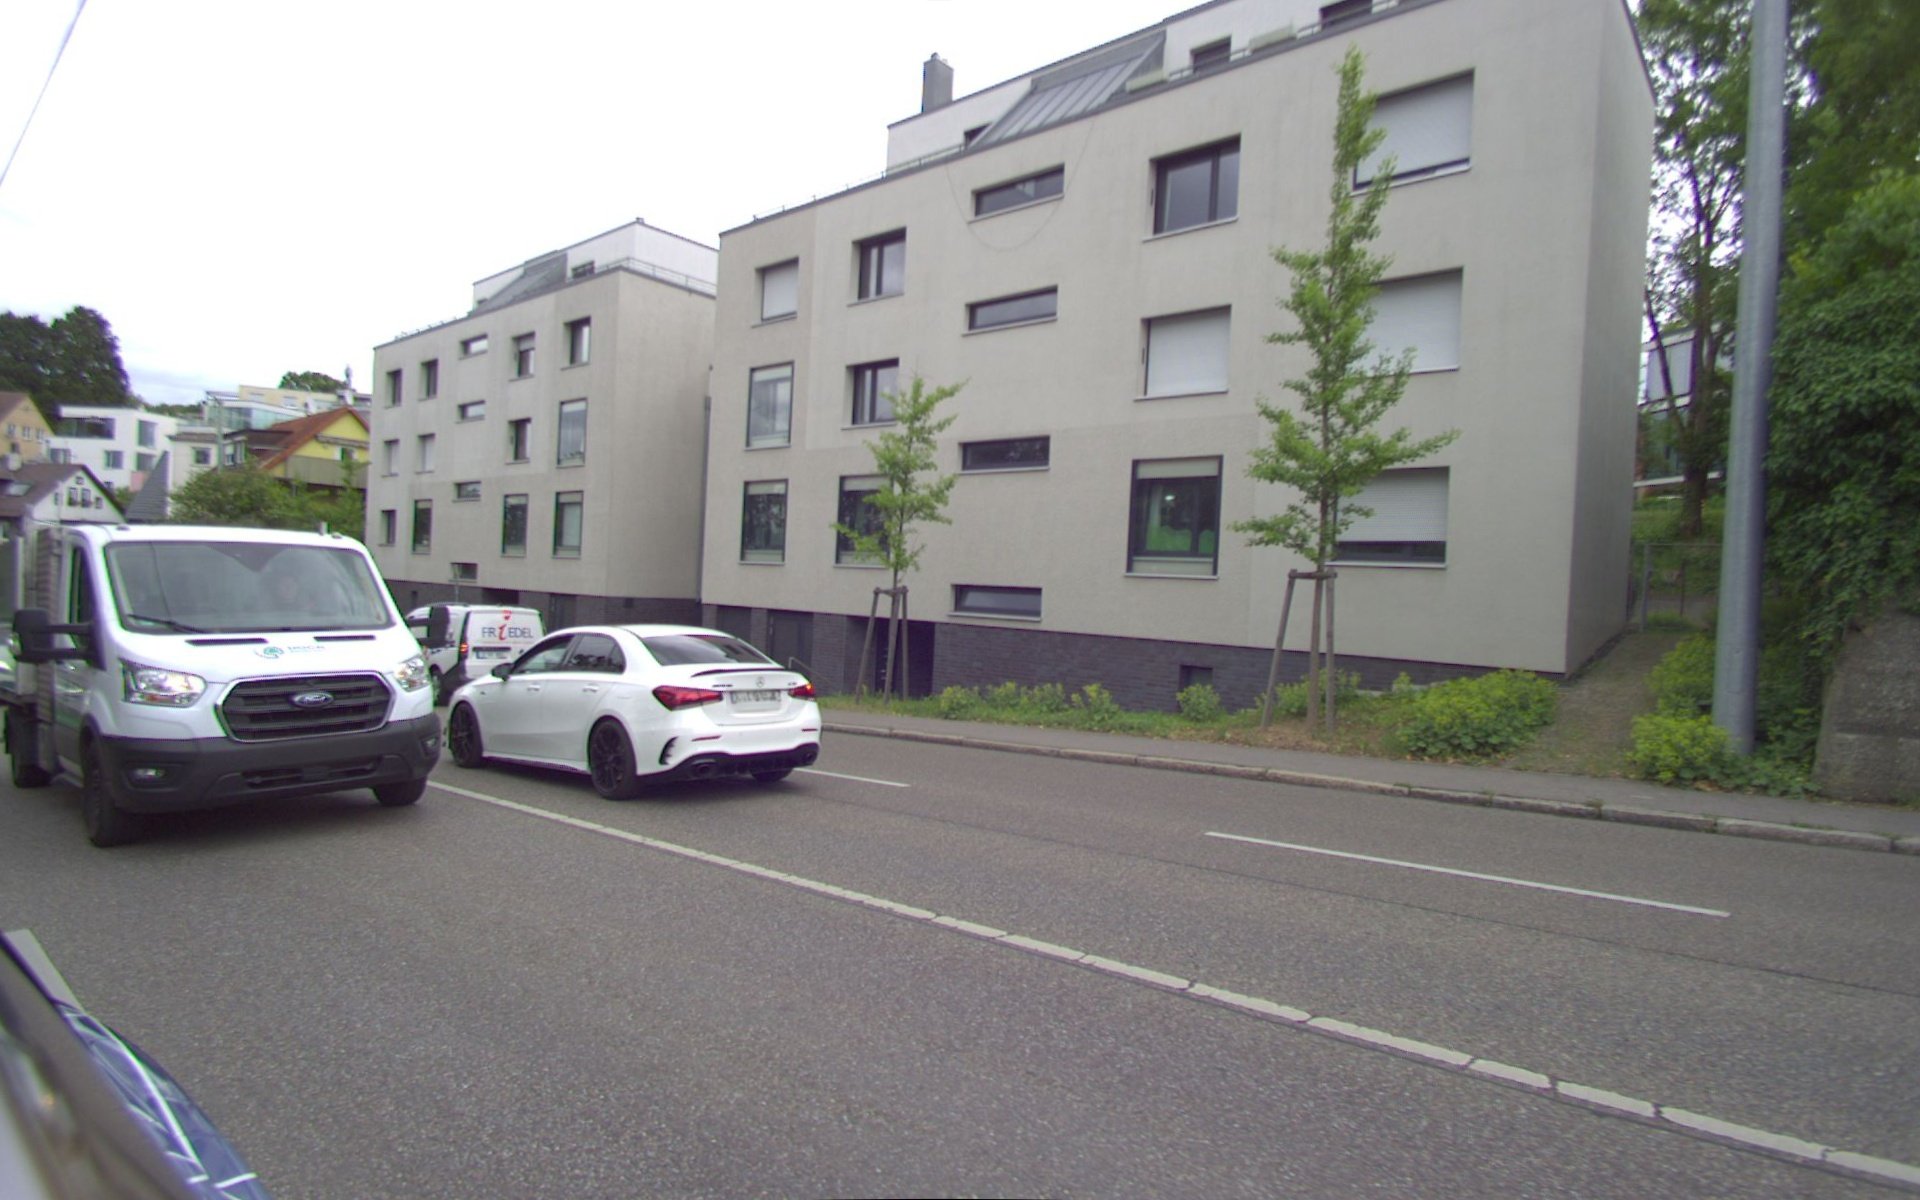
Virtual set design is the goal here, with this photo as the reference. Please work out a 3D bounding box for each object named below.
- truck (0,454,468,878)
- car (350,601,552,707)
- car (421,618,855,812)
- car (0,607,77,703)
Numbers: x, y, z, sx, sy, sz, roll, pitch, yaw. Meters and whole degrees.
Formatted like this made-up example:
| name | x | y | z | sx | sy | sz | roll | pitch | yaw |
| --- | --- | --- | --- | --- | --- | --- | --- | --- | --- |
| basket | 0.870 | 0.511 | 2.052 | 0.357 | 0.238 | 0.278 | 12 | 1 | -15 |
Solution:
| name | x | y | z | sx | sy | sz | roll | pitch | yaw |
| --- | --- | --- | --- | --- | --- | --- | --- | --- | --- |
| truck | -6.578 | 0.418 | 8.388 | 6.325 | 2.339 | 2.055 | -1 | -1 | 39 |
| car | -9.839 | 0.993 | 19.376 | 4.864 | 1.802 | 1.714 | -1 | -3 | 41 |
| car | -3.181 | 0.918 | 9.481 | 4.460 | 1.397 | 1.796 | -1 | -4 | 41 |
| car | -17.324 | 0.918 | 17.981 | 4.398 | 1.492 | 1.891 | 0 | 2 | 41 |
